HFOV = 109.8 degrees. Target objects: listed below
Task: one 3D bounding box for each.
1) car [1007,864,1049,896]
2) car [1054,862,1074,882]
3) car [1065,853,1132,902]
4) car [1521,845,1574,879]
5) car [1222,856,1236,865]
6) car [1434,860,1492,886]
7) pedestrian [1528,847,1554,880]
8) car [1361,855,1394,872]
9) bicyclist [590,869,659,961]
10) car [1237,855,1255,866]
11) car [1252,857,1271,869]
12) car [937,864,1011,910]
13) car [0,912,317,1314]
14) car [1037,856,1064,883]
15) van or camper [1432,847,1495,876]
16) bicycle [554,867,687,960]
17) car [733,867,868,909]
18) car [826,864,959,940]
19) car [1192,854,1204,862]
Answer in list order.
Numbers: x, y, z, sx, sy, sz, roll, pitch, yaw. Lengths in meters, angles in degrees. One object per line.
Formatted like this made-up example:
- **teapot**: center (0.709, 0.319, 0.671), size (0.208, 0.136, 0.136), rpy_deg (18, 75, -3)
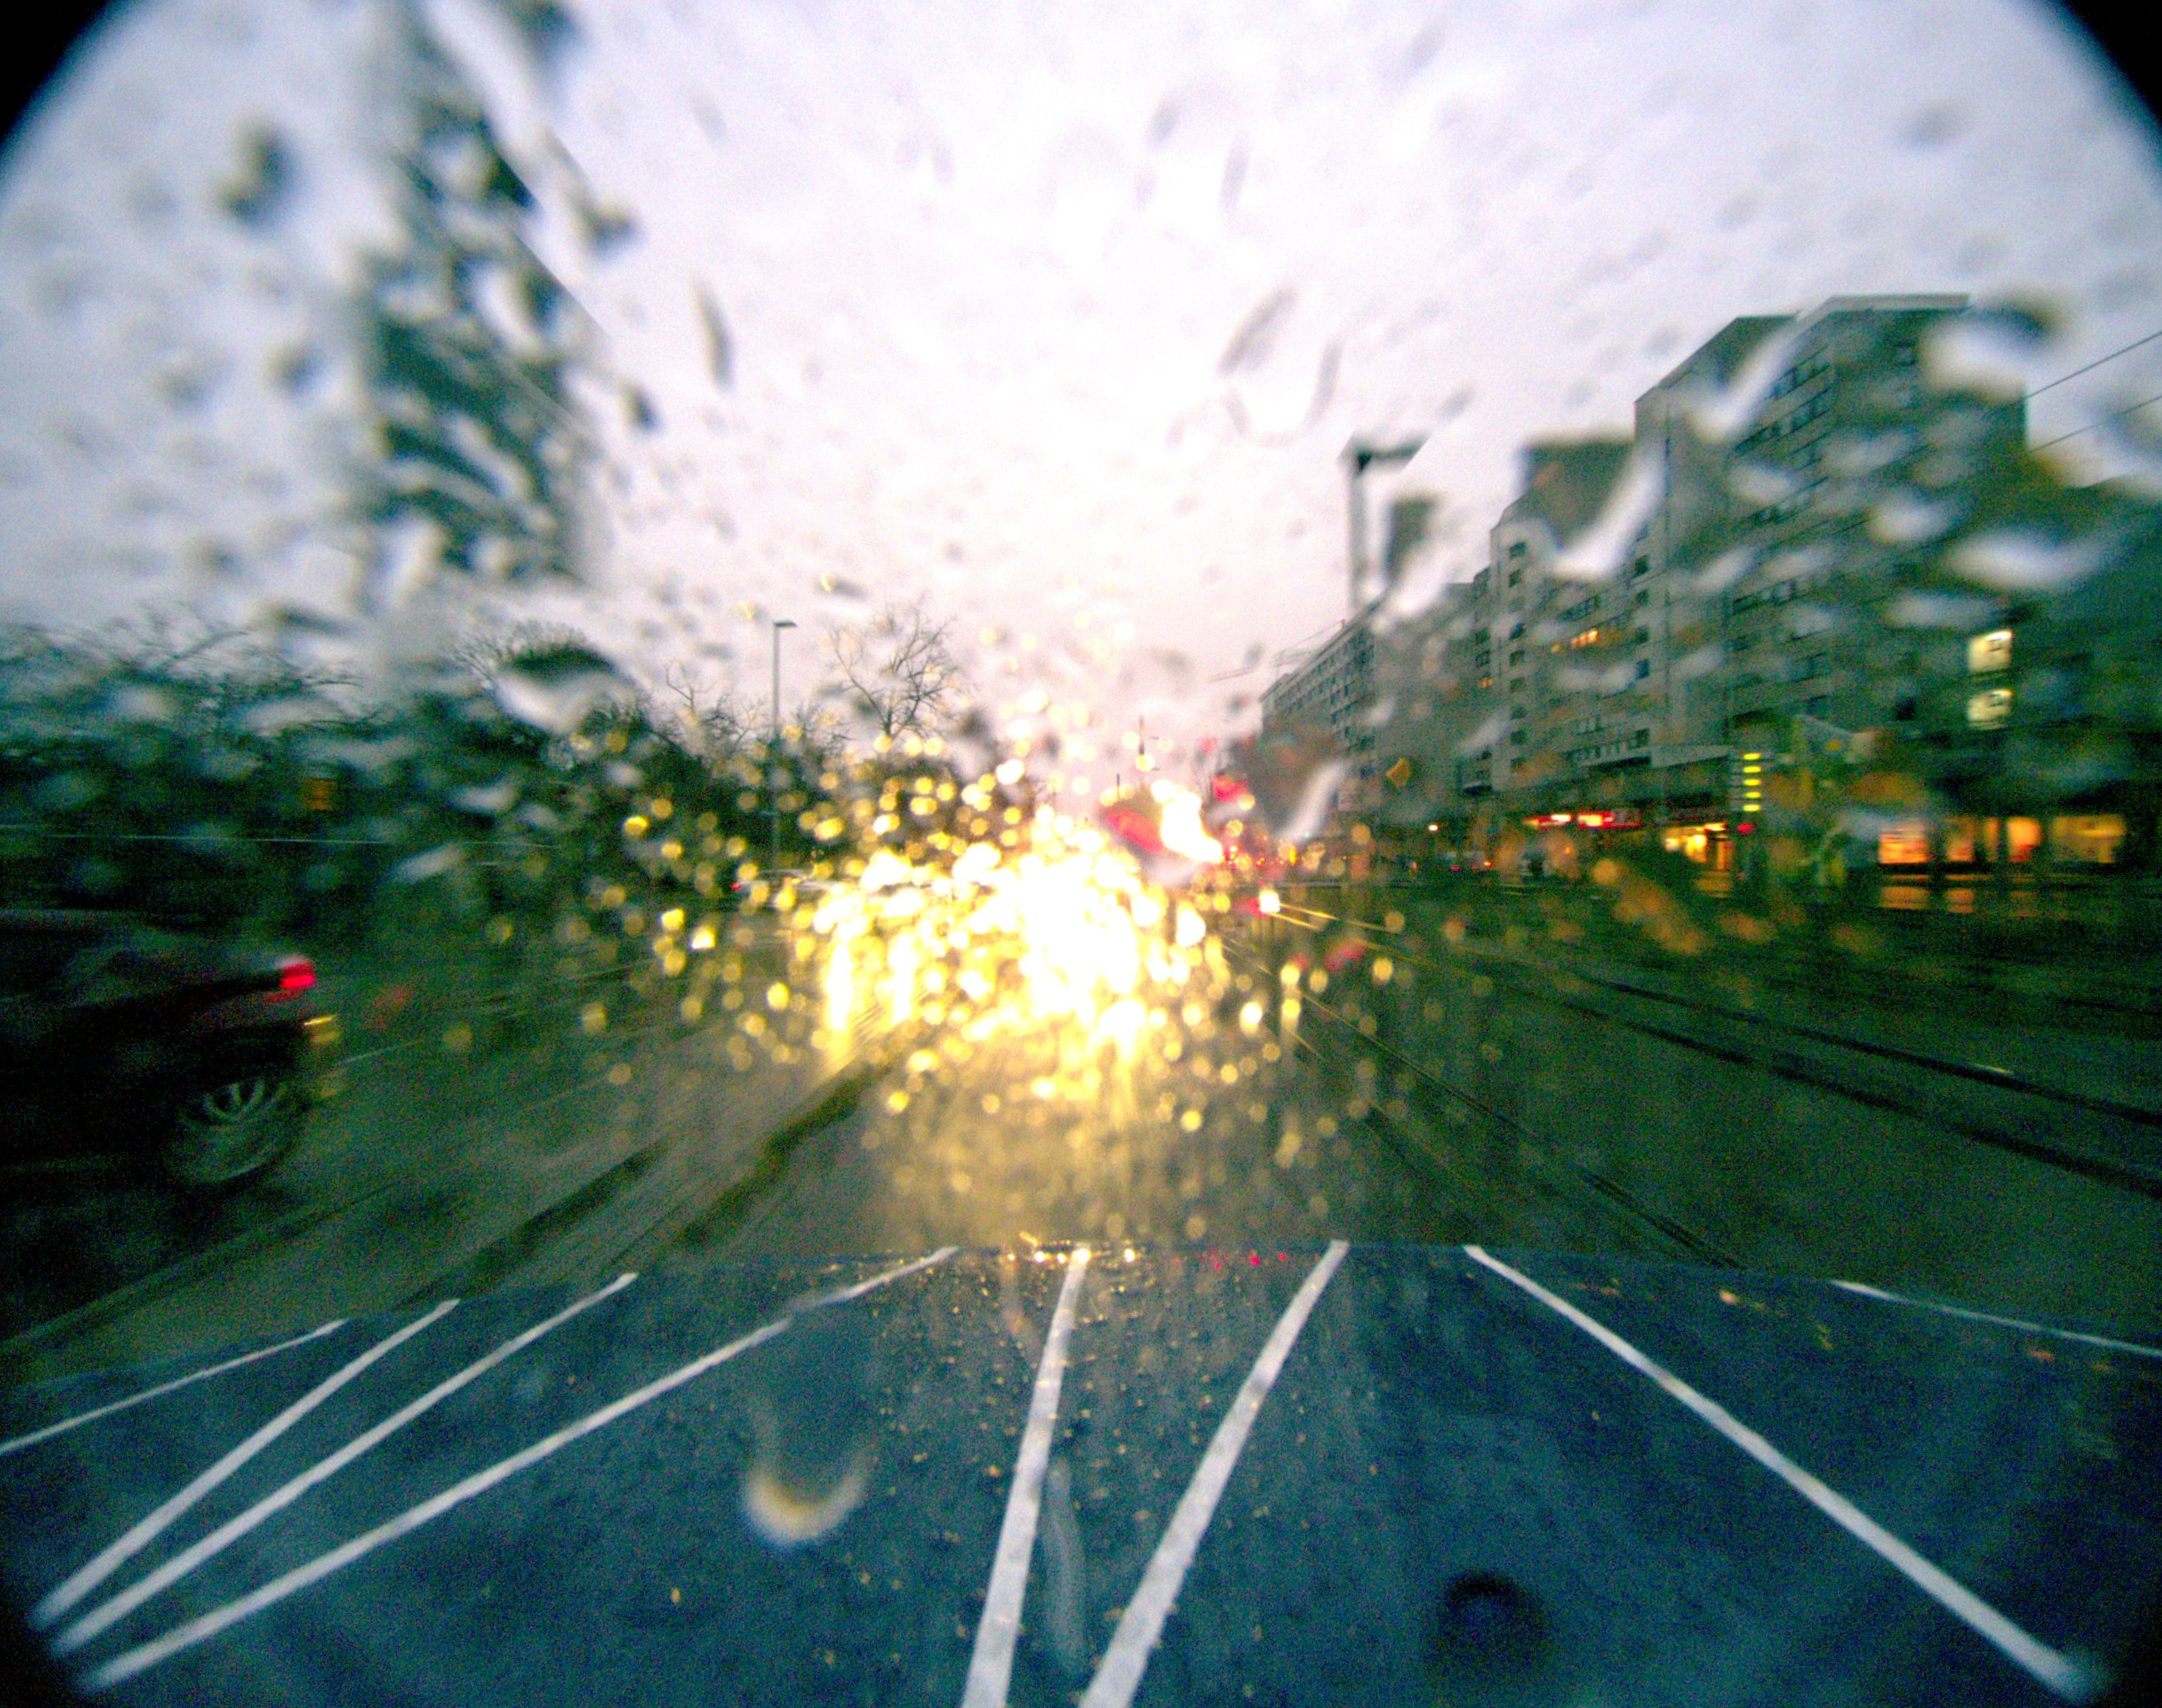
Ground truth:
- **car**: center (-2.823, 1.360, 41.253), size (1.880, 1.490, 4.077), rpy_deg (-1, 1, 1)
- **car**: center (-1.525, 1.646, 70.514), size (1.679, 1.670, 3.864), rpy_deg (-1, 0, 1)
- **car**: center (0.588, 0.770, 26.931), size (2.160, 1.490, 4.007), rpy_deg (-1, 1, 1)
- **car**: center (30.309, 0.497, 49.336), size (1.994, 2.002, 4.581), rpy_deg (-2, 1, 43)
- **car**: center (24.604, 1.035, 126.409), size (1.596, 1.440, 3.872), rpy_deg (-1, 1, -1)
- **car**: center (25.115, 1.222, 50.158), size (1.997, 1.536, 4.706), rpy_deg (-1, 0, 7)
- **pedestrian**: center (21.050, 0.423, 34.790), size (0.792, 1.481, 0.630), rpy_deg (-1, 1, -7)
- **car**: center (30.474, 0.978, 78.082), size (3.785, 1.608, 1.677), rpy_deg (-2, 1, -44)
- **bicyclist**: center (-8.652, 1.139, 14.420), size (0.816, 1.669, 0.698), rpy_deg (-1, 1, 16)
- **car**: center (24.407, 0.957, 112.422), size (1.754, 1.440, 3.872), rpy_deg (-1, 1, -1)
- **car**: center (24.853, 1.255, 104.716), size (1.754, 1.503, 3.890), rpy_deg (-1, 1, -1)
- **car**: center (-3.852, 1.158, 28.057), size (1.777, 1.453, 4.041), rpy_deg (-1, 1, 5)
- **car**: center (-5.148, 1.125, 2.194), size (1.726, 1.471, 3.999), rpy_deg (-3, 1, 1)
- **car**: center (-2.097, 1.052, 52.746), size (1.679, 1.739, 3.864), rpy_deg (-1, 0, 1)
- **van or camper**: center (29.231, 0.576, 58.330), size (1.998, 2.085, 5.654), rpy_deg (-1, 0, 1)
- **bicycle**: center (-8.728, 1.120, 14.406), size (2.243, 1.647, 0.690), rpy_deg (-2, 1, 14)
- **car**: center (-10.811, 1.309, 29.439), size (4.511, 1.480, 1.883), rpy_deg (-1, 1, 9)
- **car**: center (-4.530, 1.095, 19.138), size (1.791, 1.493, 4.967), rpy_deg (-2, 1, 3)
- **car**: center (21.189, 0.768, 137.772), size (1.596, 1.440, 3.872), rpy_deg (-1, 1, -1)
